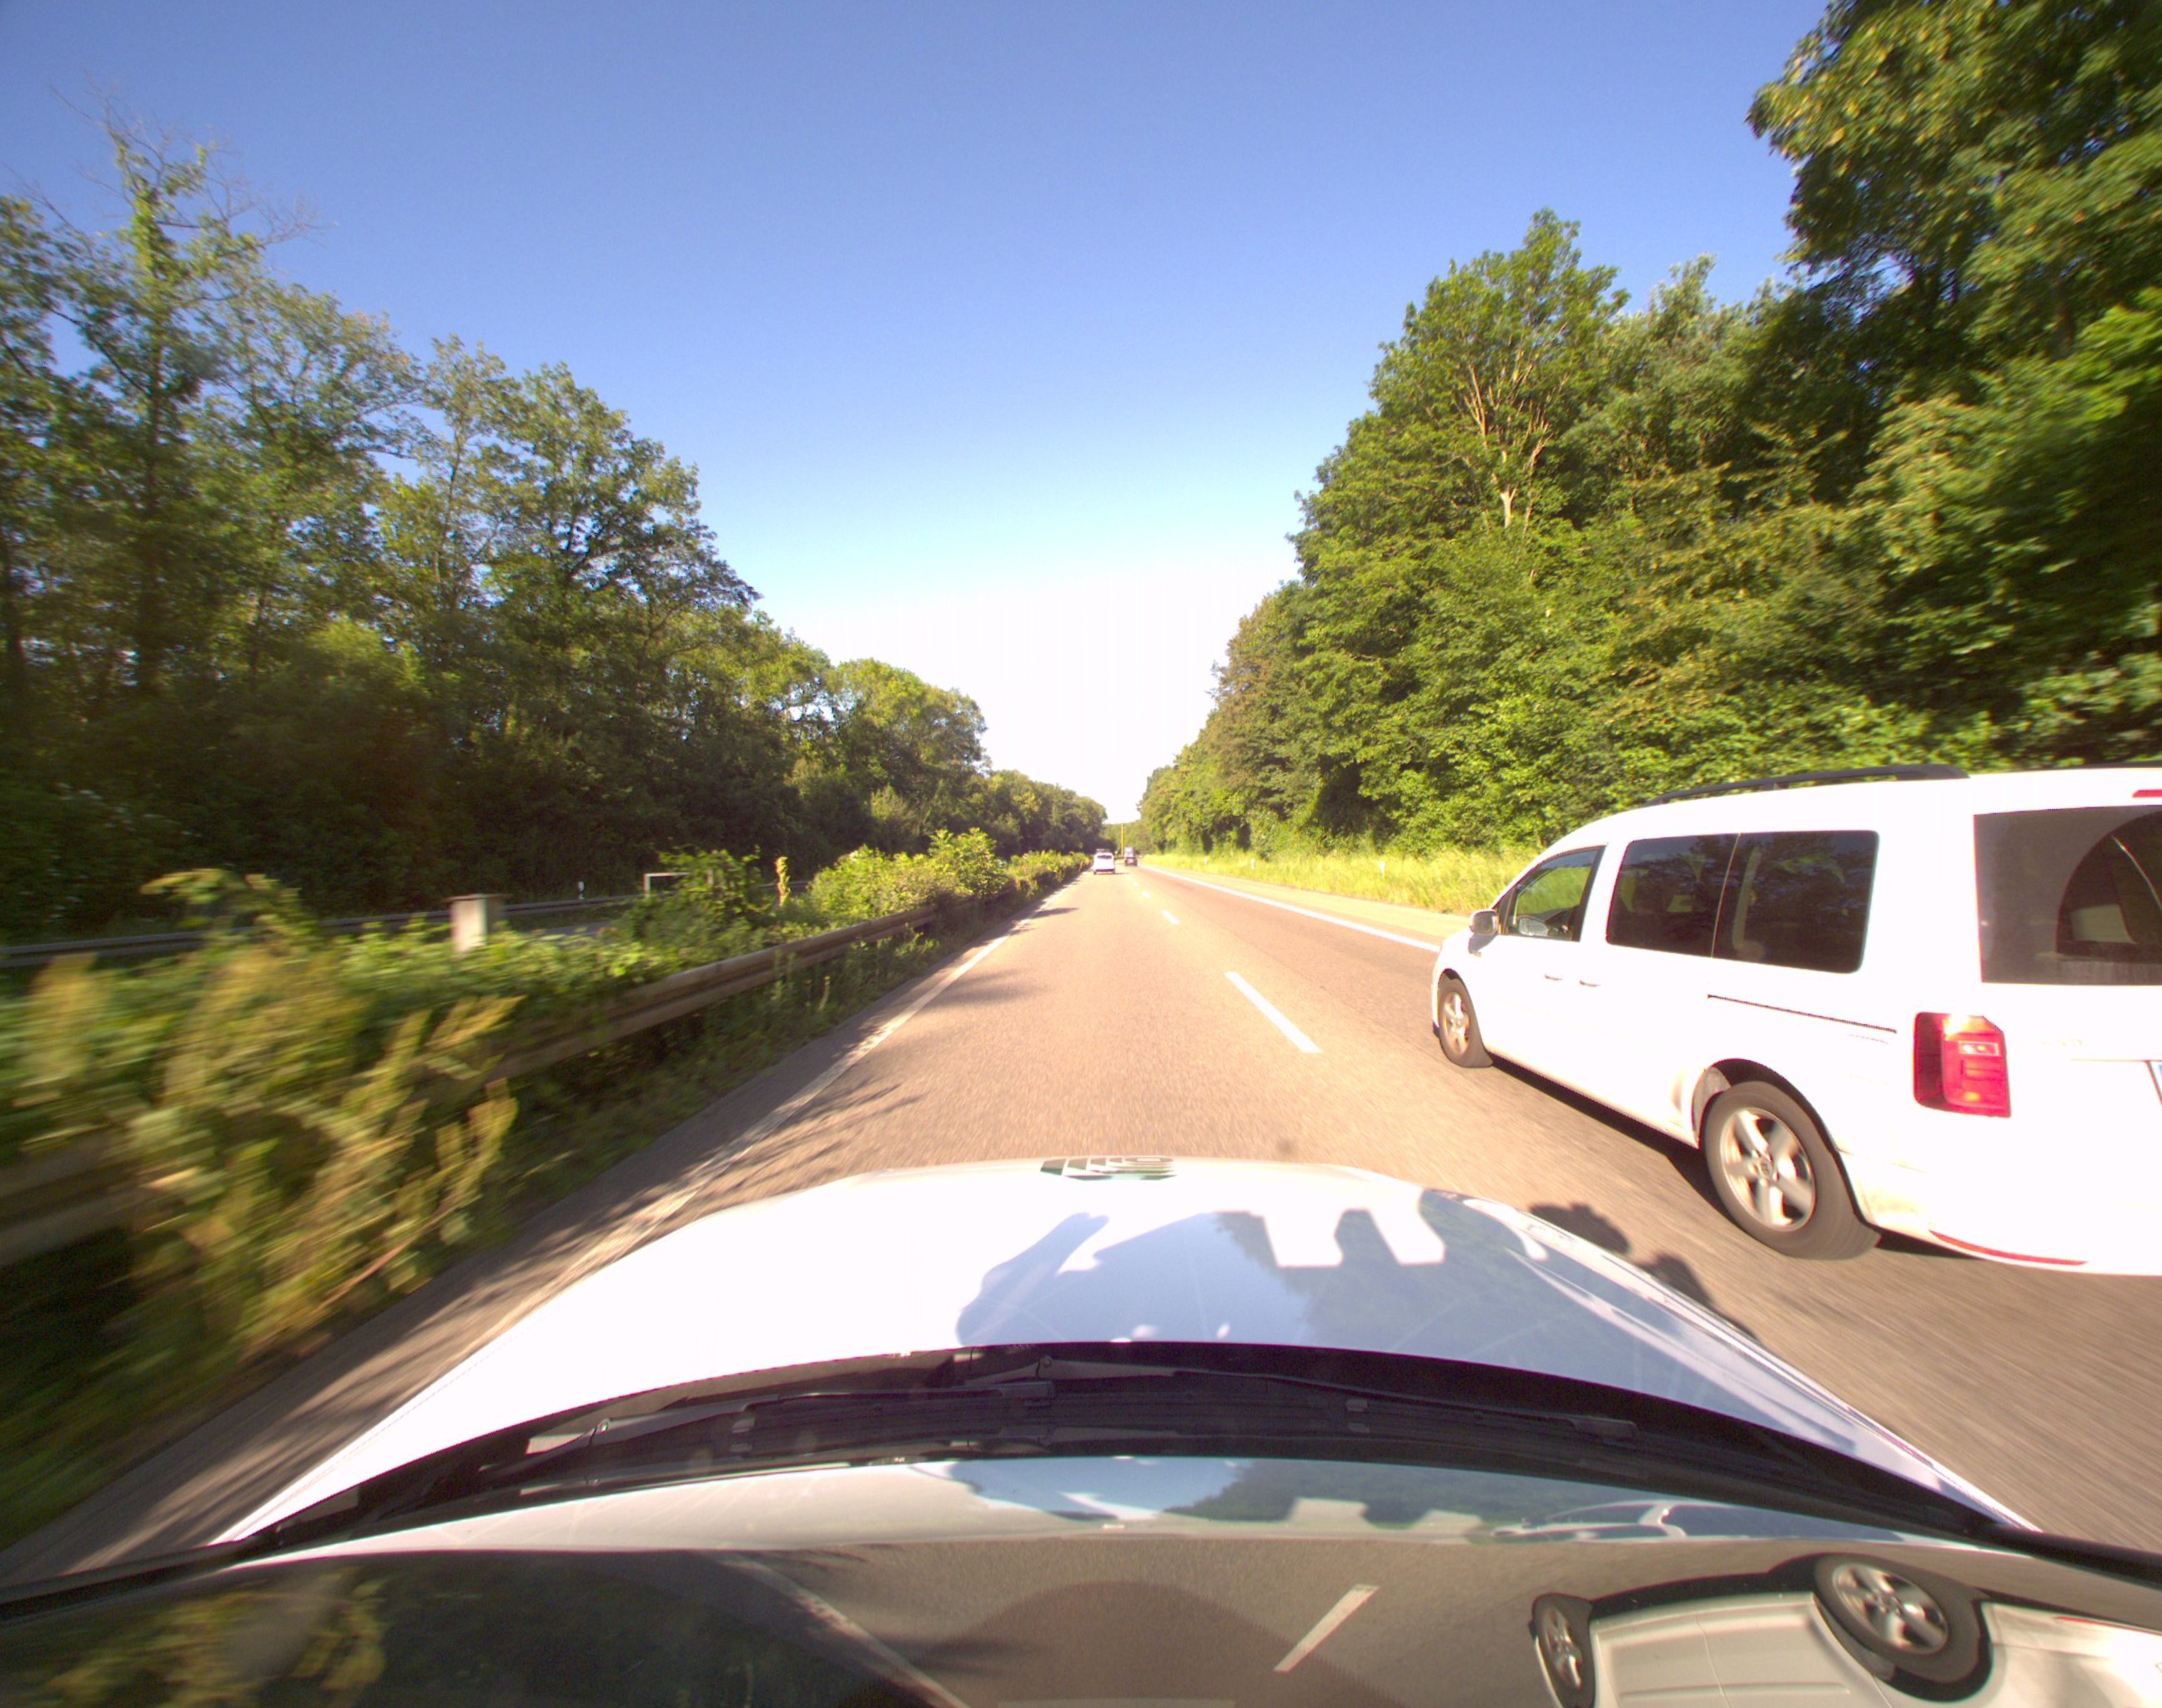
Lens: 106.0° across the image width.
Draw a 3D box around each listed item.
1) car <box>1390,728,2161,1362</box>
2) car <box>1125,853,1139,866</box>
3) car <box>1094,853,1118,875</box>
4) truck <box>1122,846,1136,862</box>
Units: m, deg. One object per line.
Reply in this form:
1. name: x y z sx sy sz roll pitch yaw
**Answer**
1. car: 3.482 0.548 4.631 1.792 1.813 4.589 -1 0 1
2. car: 7.570 0.814 120.648 1.944 1.782 4.589 -1 0 1
3. car: 2.092 0.865 69.565 1.944 1.782 4.589 -1 0 1
4. truck: 13.794 -0.016 233.019 3.718 4.343 9.313 -1 0 4
